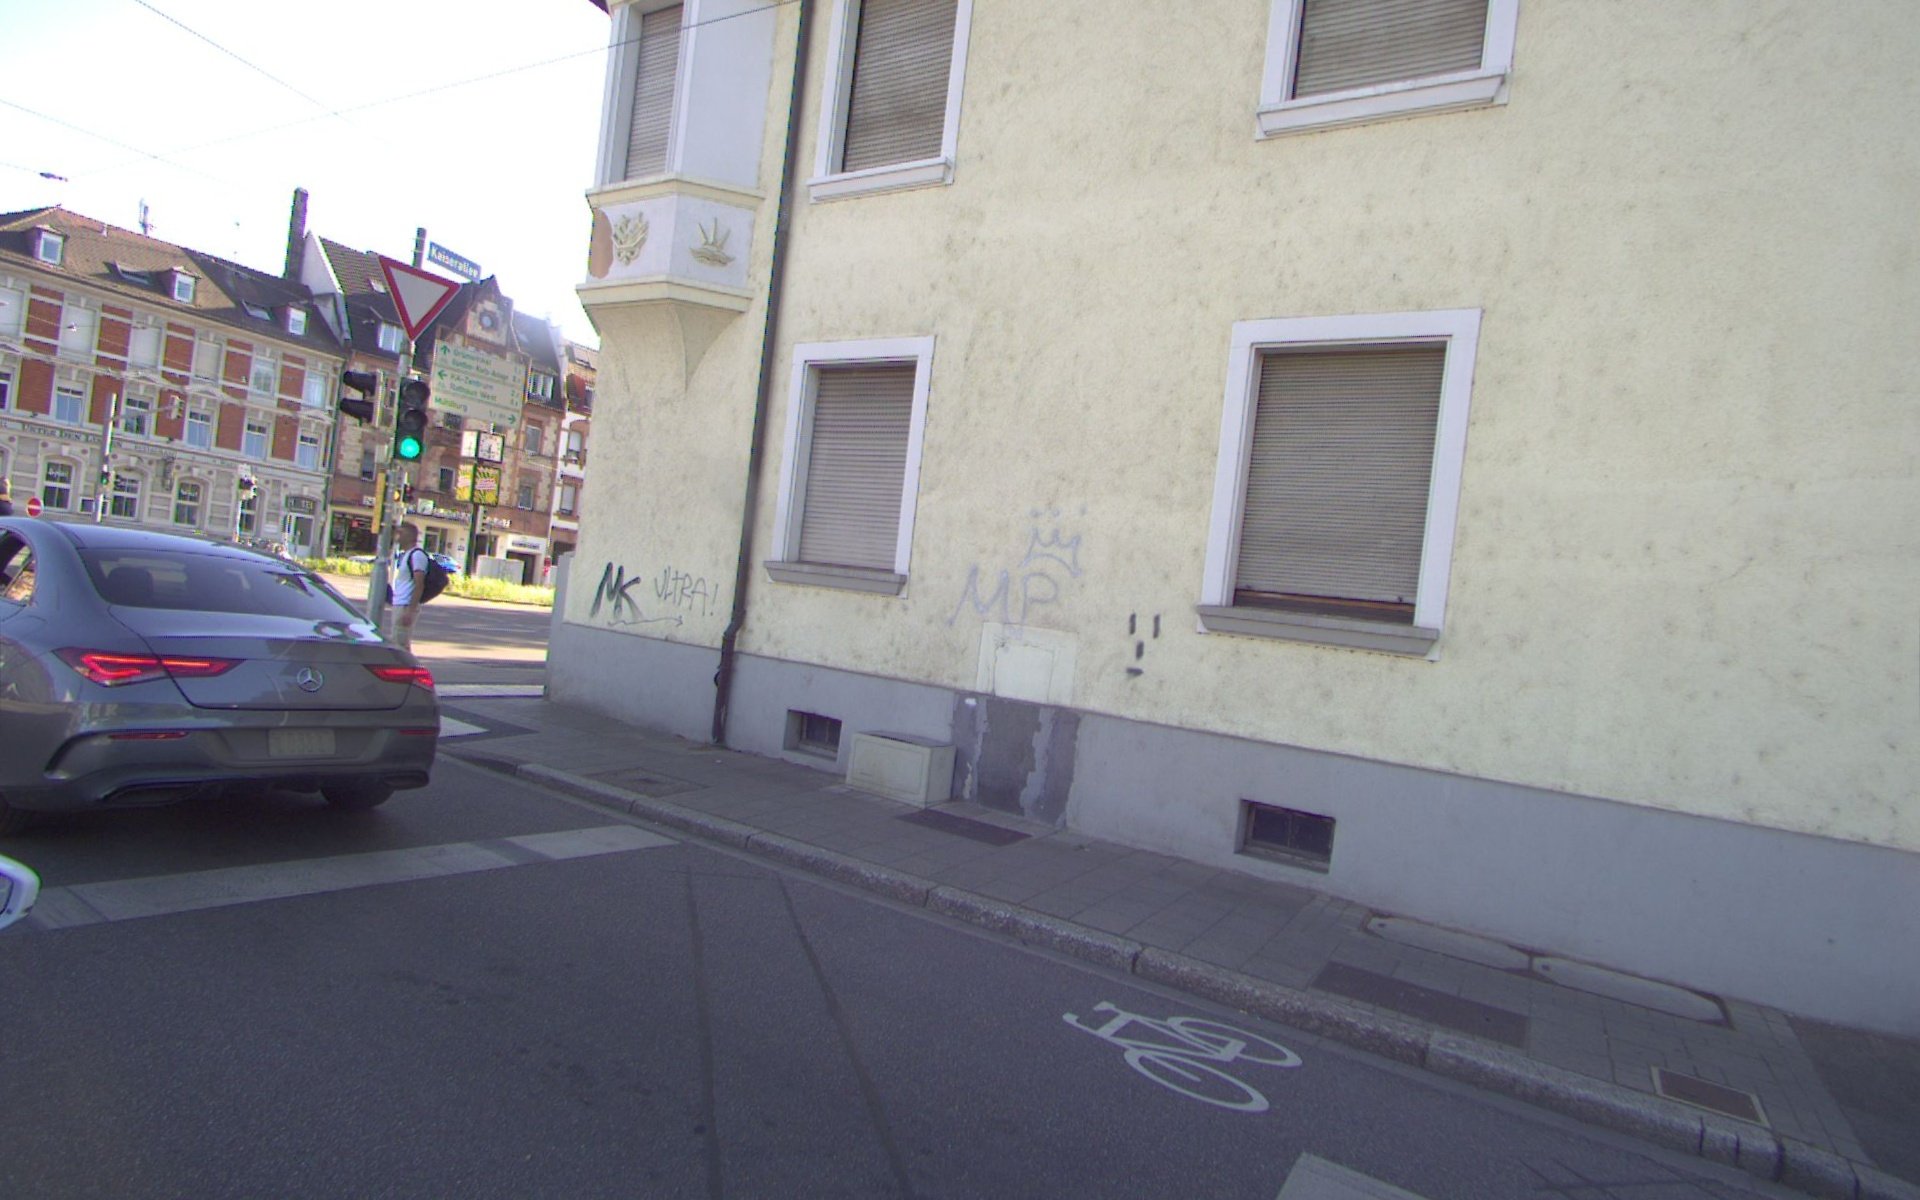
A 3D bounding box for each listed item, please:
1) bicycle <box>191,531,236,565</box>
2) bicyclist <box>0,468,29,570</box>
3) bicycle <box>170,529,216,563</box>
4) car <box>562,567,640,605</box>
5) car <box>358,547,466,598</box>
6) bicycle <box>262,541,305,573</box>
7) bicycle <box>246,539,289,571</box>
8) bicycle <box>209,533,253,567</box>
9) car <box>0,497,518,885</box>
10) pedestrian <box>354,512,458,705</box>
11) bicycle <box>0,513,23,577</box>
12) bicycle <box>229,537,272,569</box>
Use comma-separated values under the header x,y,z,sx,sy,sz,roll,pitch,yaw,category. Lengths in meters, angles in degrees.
x,y,z,sx,sy,sz,roll,pitch,yaw,category
-34.196,-2.388,46.065,2.618,1.301,0.693,6,-1,33,bicycle
-16.615,-1.420,17.218,0.803,1.682,0.873,8,-1,-41,bicyclist
-34.624,-2.435,45.409,2.618,1.301,0.693,6,-1,33,bicycle
-23.241,-0.876,65.284,1.967,1.798,4.374,6,-2,31,car
-25.484,-1.262,46.902,1.967,1.798,3.790,6,-2,31,car
-32.677,-2.078,48.580,2.618,1.301,0.629,6,-1,33,bicycle
-33.047,-2.152,47.991,2.618,1.301,0.629,6,-1,33,bicycle
-33.828,-2.328,46.690,2.618,1.301,0.629,6,-1,33,bicycle
-4.795,0.251,5.765,4.419,1.436,1.910,6,-2,33,car
-5.368,0.079,9.776,0.631,1.780,0.584,4,3,-7,pedestrian
-16.819,-1.000,17.366,0.752,1.043,1.761,8,-2,-40,bicycle
-33.413,-2.223,47.362,2.618,1.301,0.629,6,-1,33,bicycle
